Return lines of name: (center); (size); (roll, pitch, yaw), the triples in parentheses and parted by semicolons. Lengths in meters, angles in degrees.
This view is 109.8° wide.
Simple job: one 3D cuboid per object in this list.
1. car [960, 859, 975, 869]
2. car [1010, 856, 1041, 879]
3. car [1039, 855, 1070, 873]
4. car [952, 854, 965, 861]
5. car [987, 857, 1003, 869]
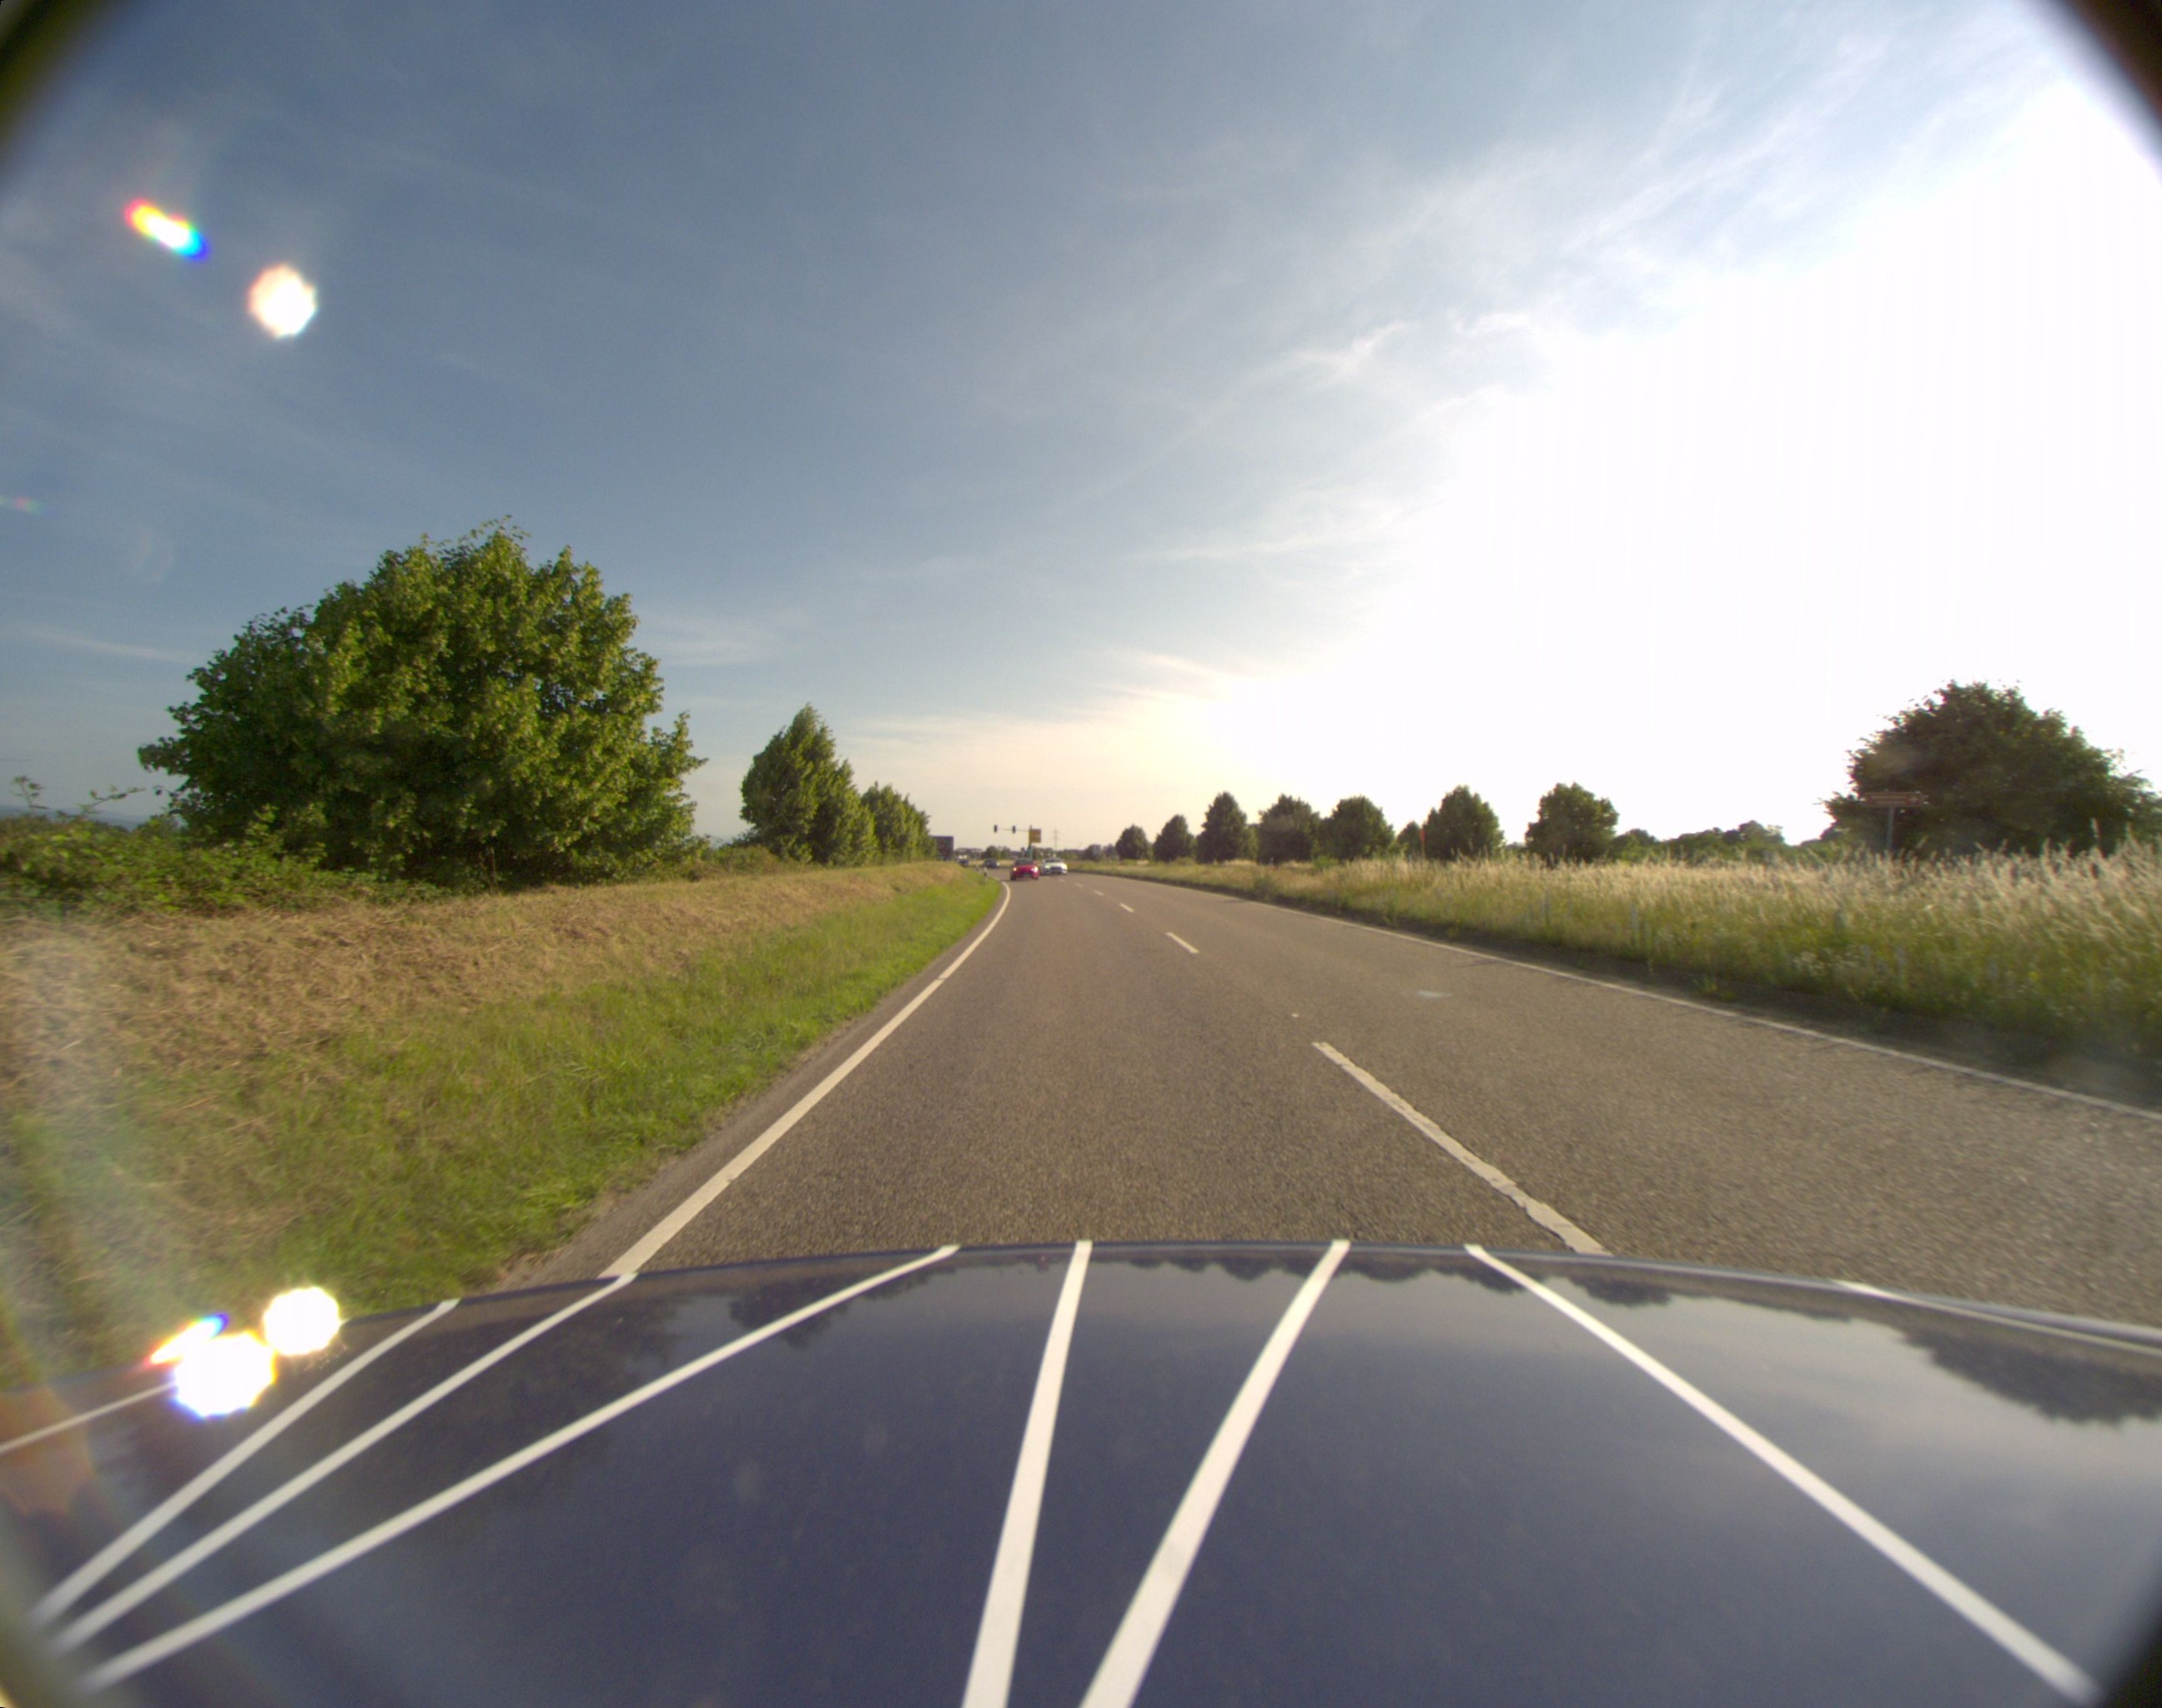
car: (-18.954, 1.615, 126.562); (1.834, 1.521, 3.993); (-1, 0, -18)
car: (-3.833, 0.913, 52.282); (1.667, 1.455, 3.951); (-2, 1, -10)
car: (-2.247, 0.770, 63.250); (1.877, 1.390, 4.199); (-1, 0, -13)
car: (-28.691, 0.873, 177.920); (1.921, 1.556, 4.601); (-2, 0, -26)
car: (-11.929, 1.188, 104.874); (1.753, 1.521, 3.995); (-1, 0, -13)
